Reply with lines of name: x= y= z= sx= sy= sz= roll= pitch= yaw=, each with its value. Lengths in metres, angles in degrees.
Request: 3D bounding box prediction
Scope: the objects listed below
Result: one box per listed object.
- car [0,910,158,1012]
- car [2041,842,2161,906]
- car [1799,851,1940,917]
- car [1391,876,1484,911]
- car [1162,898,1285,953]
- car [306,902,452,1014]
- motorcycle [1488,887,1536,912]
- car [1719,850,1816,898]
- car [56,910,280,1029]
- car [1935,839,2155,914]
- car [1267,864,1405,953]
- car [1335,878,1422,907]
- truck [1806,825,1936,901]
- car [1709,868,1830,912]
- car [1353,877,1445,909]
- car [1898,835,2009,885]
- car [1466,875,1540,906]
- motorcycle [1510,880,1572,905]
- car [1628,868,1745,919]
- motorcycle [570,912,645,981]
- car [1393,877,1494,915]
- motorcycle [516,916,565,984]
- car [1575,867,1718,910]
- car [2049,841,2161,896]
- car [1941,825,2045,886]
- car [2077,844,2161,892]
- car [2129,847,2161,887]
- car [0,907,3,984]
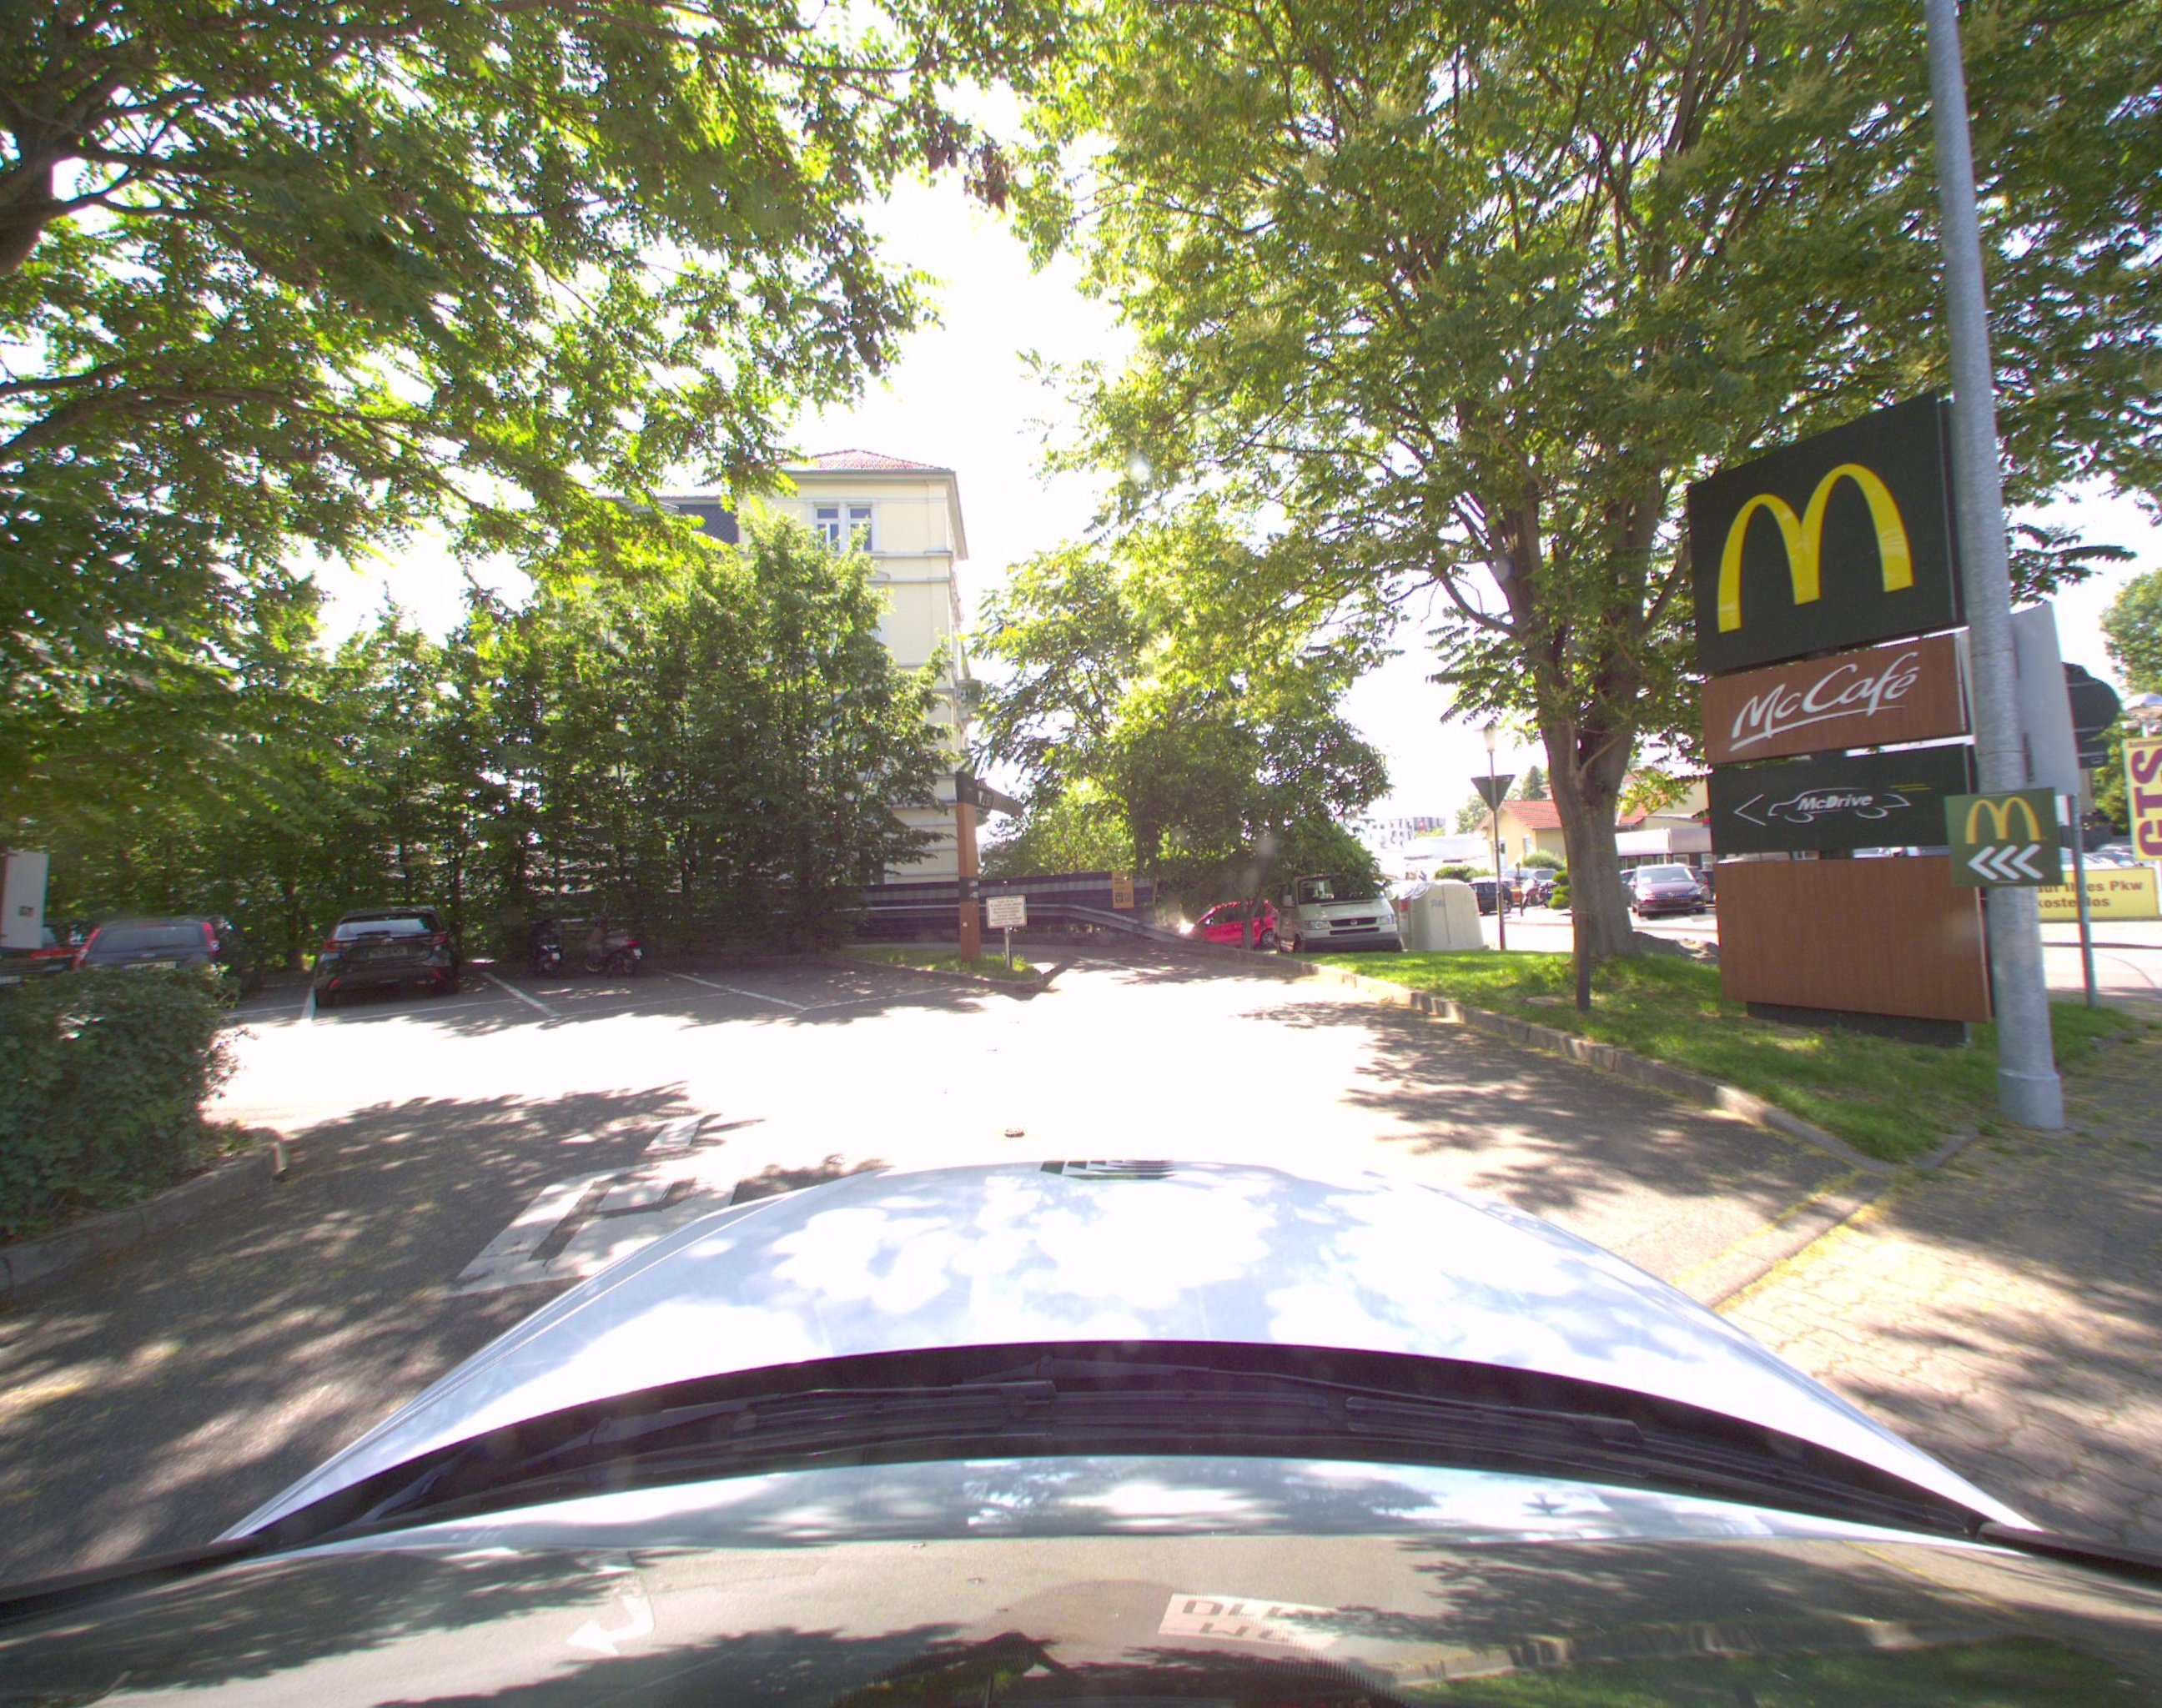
car: x=-18.781 y=1.878 z=14.785 sx=1.782 sy=1.470 sz=3.956 roll=-2 pitch=0 yaw=-35
car: x=28.727 y=0.546 z=22.796 sx=1.839 sy=1.629 sz=4.024 roll=-4 pitch=-3 yaw=43
car: x=21.441 y=0.814 z=22.363 sx=2.026 sy=1.595 sz=4.451 roll=-3 pitch=-3 yaw=34
car: x=18.670 y=2.083 z=42.719 sx=3.988 sy=1.726 sz=1.992 roll=0 pitch=-3 yaw=-11
car: x=4.271 y=2.134 z=24.689 sx=3.395 sy=1.379 sz=1.485 roll=-3 pitch=-1 yaw=-2
car: x=-12.003 y=1.647 z=14.018 sx=1.670 sy=1.470 sz=3.858 roll=-2 pitch=0 yaw=-40
motorcycle: x=20.615 y=2.164 z=38.997 sx=1.858 sy=1.159 sz=0.791 roll=-1 pitch=-2 yaw=8
car: x=30.481 y=0.900 z=36.129 sx=4.512 sy=2.014 sz=1.979 roll=0 pitch=-3 yaw=-33
car: x=-14.877 y=1.765 z=13.525 sx=1.712 sy=1.453 sz=3.955 roll=-2 pitch=0 yaw=-37
car: x=24.328 y=0.591 z=20.816 sx=1.976 sy=1.726 sz=4.021 roll=-2 pitch=-2 yaw=23
car: x=5.174 y=1.043 z=17.232 sx=1.941 sy=1.583 sz=5.042 roll=-1 pitch=-1 yaw=8
car: x=18.286 y=2.358 z=50.112 sx=4.640 sy=1.726 sz=1.992 roll=0 pitch=-3 yaw=-11
truck: x=32.705 y=0.339 z=33.669 sx=5.961 sy=2.904 sz=2.254 roll=0 pitch=-2 yaw=-30
car: x=24.920 y=1.281 z=29.467 sx=4.006 sy=1.487 sz=1.779 roll=0 pitch=-2 yaw=-25
car: x=18.585 y=2.265 z=47.711 sx=4.640 sy=1.726 sz=1.992 roll=0 pitch=-3 yaw=-11
car: x=32.021 y=0.215 z=29.860 sx=4.738 sy=1.738 sz=1.864 roll=0 pitch=-2 yaw=-32
car: x=23.346 y=2.017 z=45.234 sx=1.988 sy=1.585 sz=3.997 roll=-1 pitch=-2 yaw=-1
motorcycle: x=23.318 y=1.947 z=41.308 sx=2.711 sy=1.227 sz=0.995 roll=-1 pitch=-2 yaw=-12
car: x=19.772 y=1.257 z=26.564 sx=4.015 sy=1.510 sz=1.775 roll=0 pitch=-3 yaw=-34
motorcycle: x=-8.688 y=1.666 z=14.919 sx=1.584 sy=1.169 sz=0.574 roll=-4 pitch=-2 yaw=36
car: x=17.564 y=2.038 z=39.557 sx=3.979 sy=1.706 sz=1.997 roll=-1 pitch=-2 yaw=-4
motorcycle: x=-10.075 y=1.759 z=15.160 sx=0.477 sy=1.141 sz=1.586 roll=-1 pitch=-2 yaw=-43
car: x=22.628 y=1.387 z=32.800 sx=4.284 sy=1.585 sz=2.010 roll=-2 pitch=-2 yaw=20
car: x=33.273 y=0.467 z=26.406 sx=1.839 sy=1.629 sz=4.024 roll=-4 pitch=-3 yaw=43
car: x=37.123 y=0.063 z=33.140 sx=4.730 sy=2.285 sz=2.119 roll=0 pitch=-3 yaw=-34
car: x=37.994 y=0.483 z=29.462 sx=1.839 sy=1.629 sz=4.024 roll=-4 pitch=-3 yaw=43
car: x=45.412 y=0.485 z=33.662 sx=1.839 sy=1.629 sz=4.024 roll=-4 pitch=-3 yaw=43
car: x=-21.786 y=1.842 z=14.684 sx=1.782 sy=1.572 sz=3.955 roll=-1 pitch=-1 yaw=-37
